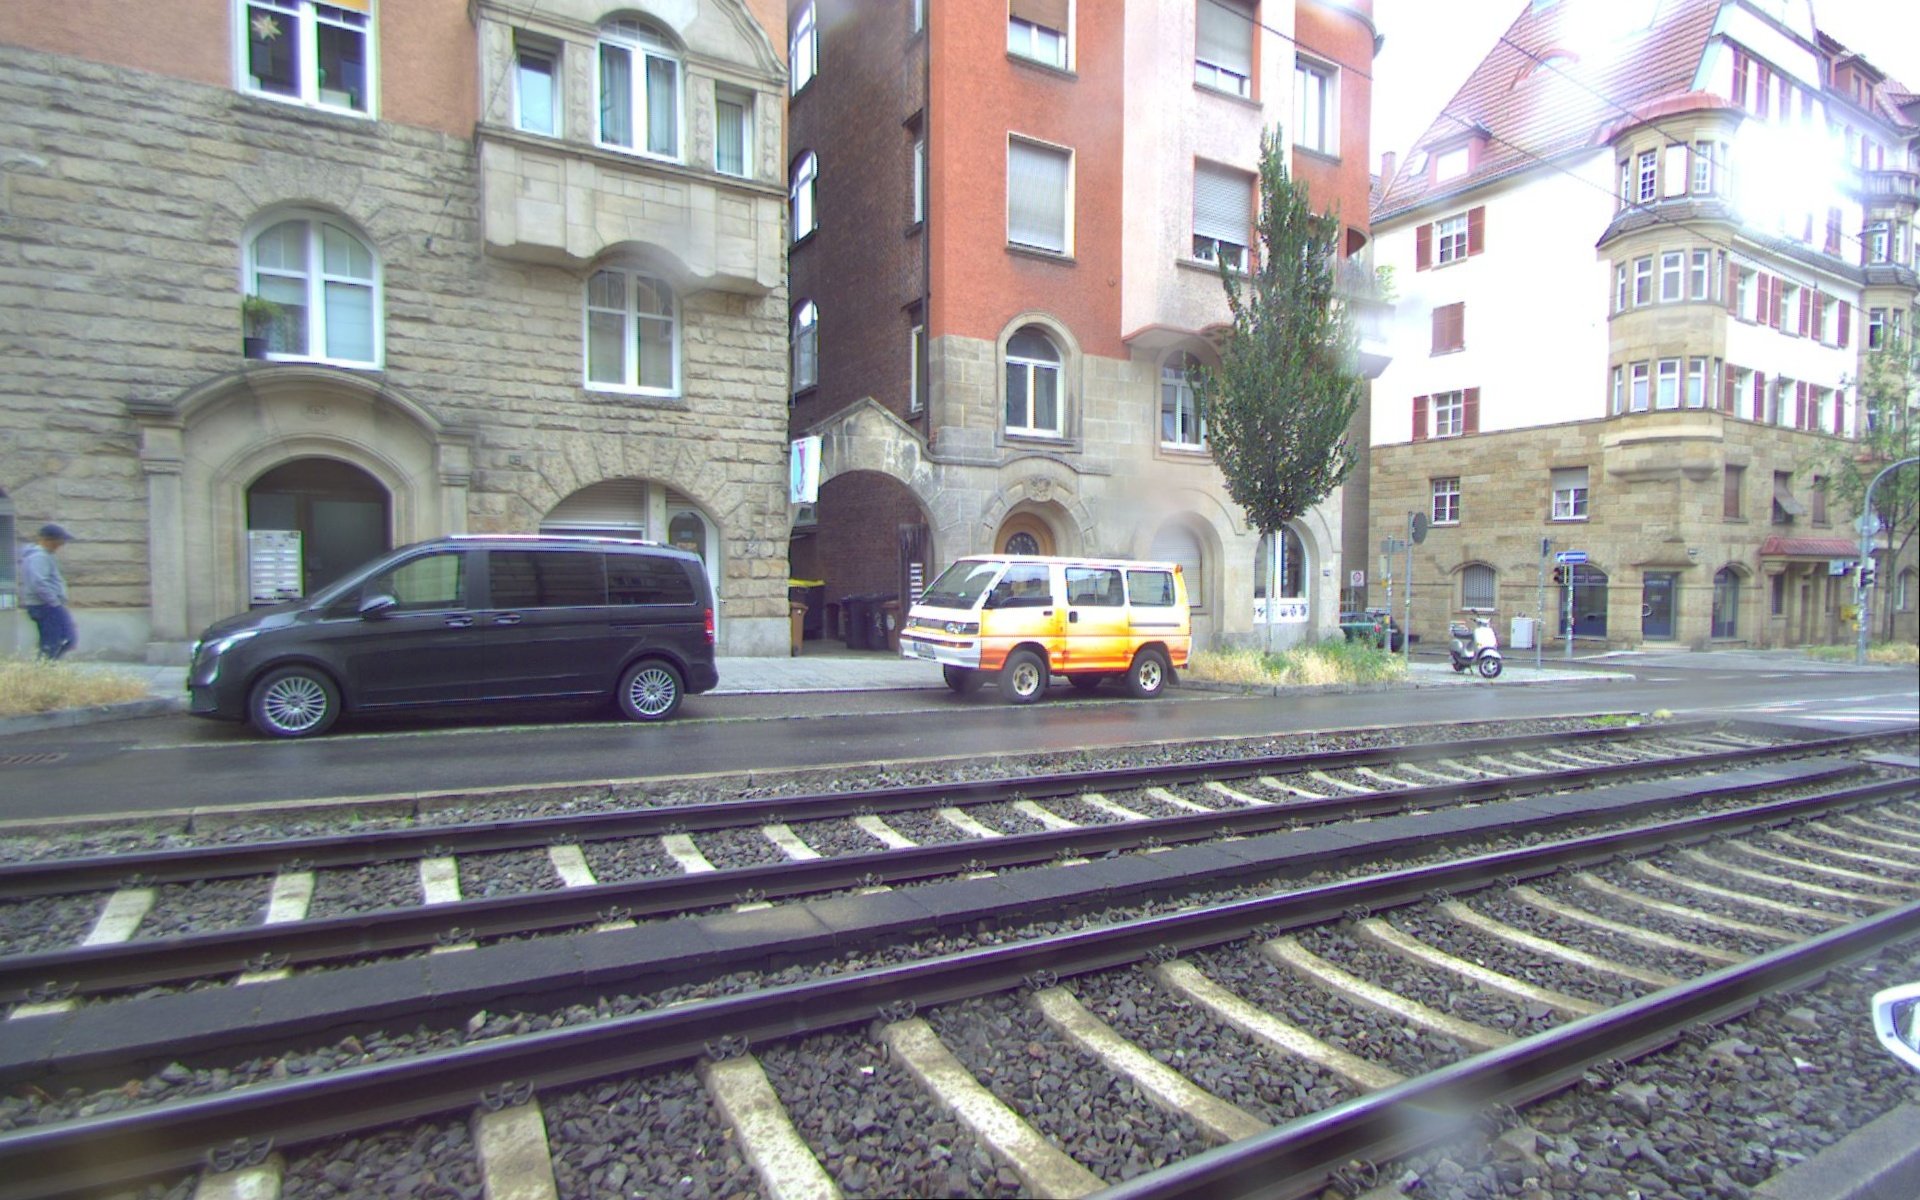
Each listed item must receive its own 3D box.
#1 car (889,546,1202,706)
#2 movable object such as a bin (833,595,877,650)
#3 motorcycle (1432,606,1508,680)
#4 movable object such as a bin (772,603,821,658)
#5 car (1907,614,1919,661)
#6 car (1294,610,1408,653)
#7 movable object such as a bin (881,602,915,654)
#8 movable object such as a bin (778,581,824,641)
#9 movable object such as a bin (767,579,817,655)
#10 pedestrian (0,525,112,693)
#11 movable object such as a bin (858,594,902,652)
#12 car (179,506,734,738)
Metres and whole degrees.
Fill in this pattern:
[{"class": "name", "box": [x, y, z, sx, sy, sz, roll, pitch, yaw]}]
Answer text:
[{"class": "car", "box": [1.296, 0.373, 14.439, 4.295, 2.001, 1.721, 2, 0, -32]}, {"class": "movable object such as a bin", "box": [-2.064, 0.445, 19.685, 0.607, 1.052, 0.793, 1, -1, -27]}, {"class": "motorcycle", "box": [10.126, 0.828, 20.002, 0.612, 1.384, 1.596, 2, 0, -3]}, {"class": "movable object such as a bin", "box": [-2.871, 0.522, 17.590, 0.627, 0.918, 0.793, 1, 1, -27]}, {"class": "car", "box": [34.187, 1.328, 34.357, 3.994, 1.573, 1.741, 2, 0, -34]}, {"class": "car", "box": [14.479, 1.157, 37.345, 1.683, 1.423, 3.618, 2, 0, -34]}, {"class": "movable object such as a bin", "box": [-1.153, 0.514, 18.631, 0.442, 0.957, 0.557, 1, -1, -27]}, {"class": "movable object such as a bin", "box": [-3.591, 0.239, 22.656, 0.676, 1.324, 1.154, 1, 1, -26]}, {"class": "movable object such as a bin", "box": [-3.086, 0.300, 18.463, 0.648, 1.360, 0.903, 1, 1, -27]}, {"class": "pedestrian", "box": [-9.385, 0.083, 10.418, 0.756, 1.664, 0.696, 2, 3, -30]}, {"class": "movable object such as a bin", "box": [-1.526, 0.439, 19.139, 0.607, 1.090, 0.679, 1, -1, -27]}, {"class": "car", "box": [-5.030, 0.247, 10.594, 4.769, 1.968, 1.984, 2, 0, -30]}]
